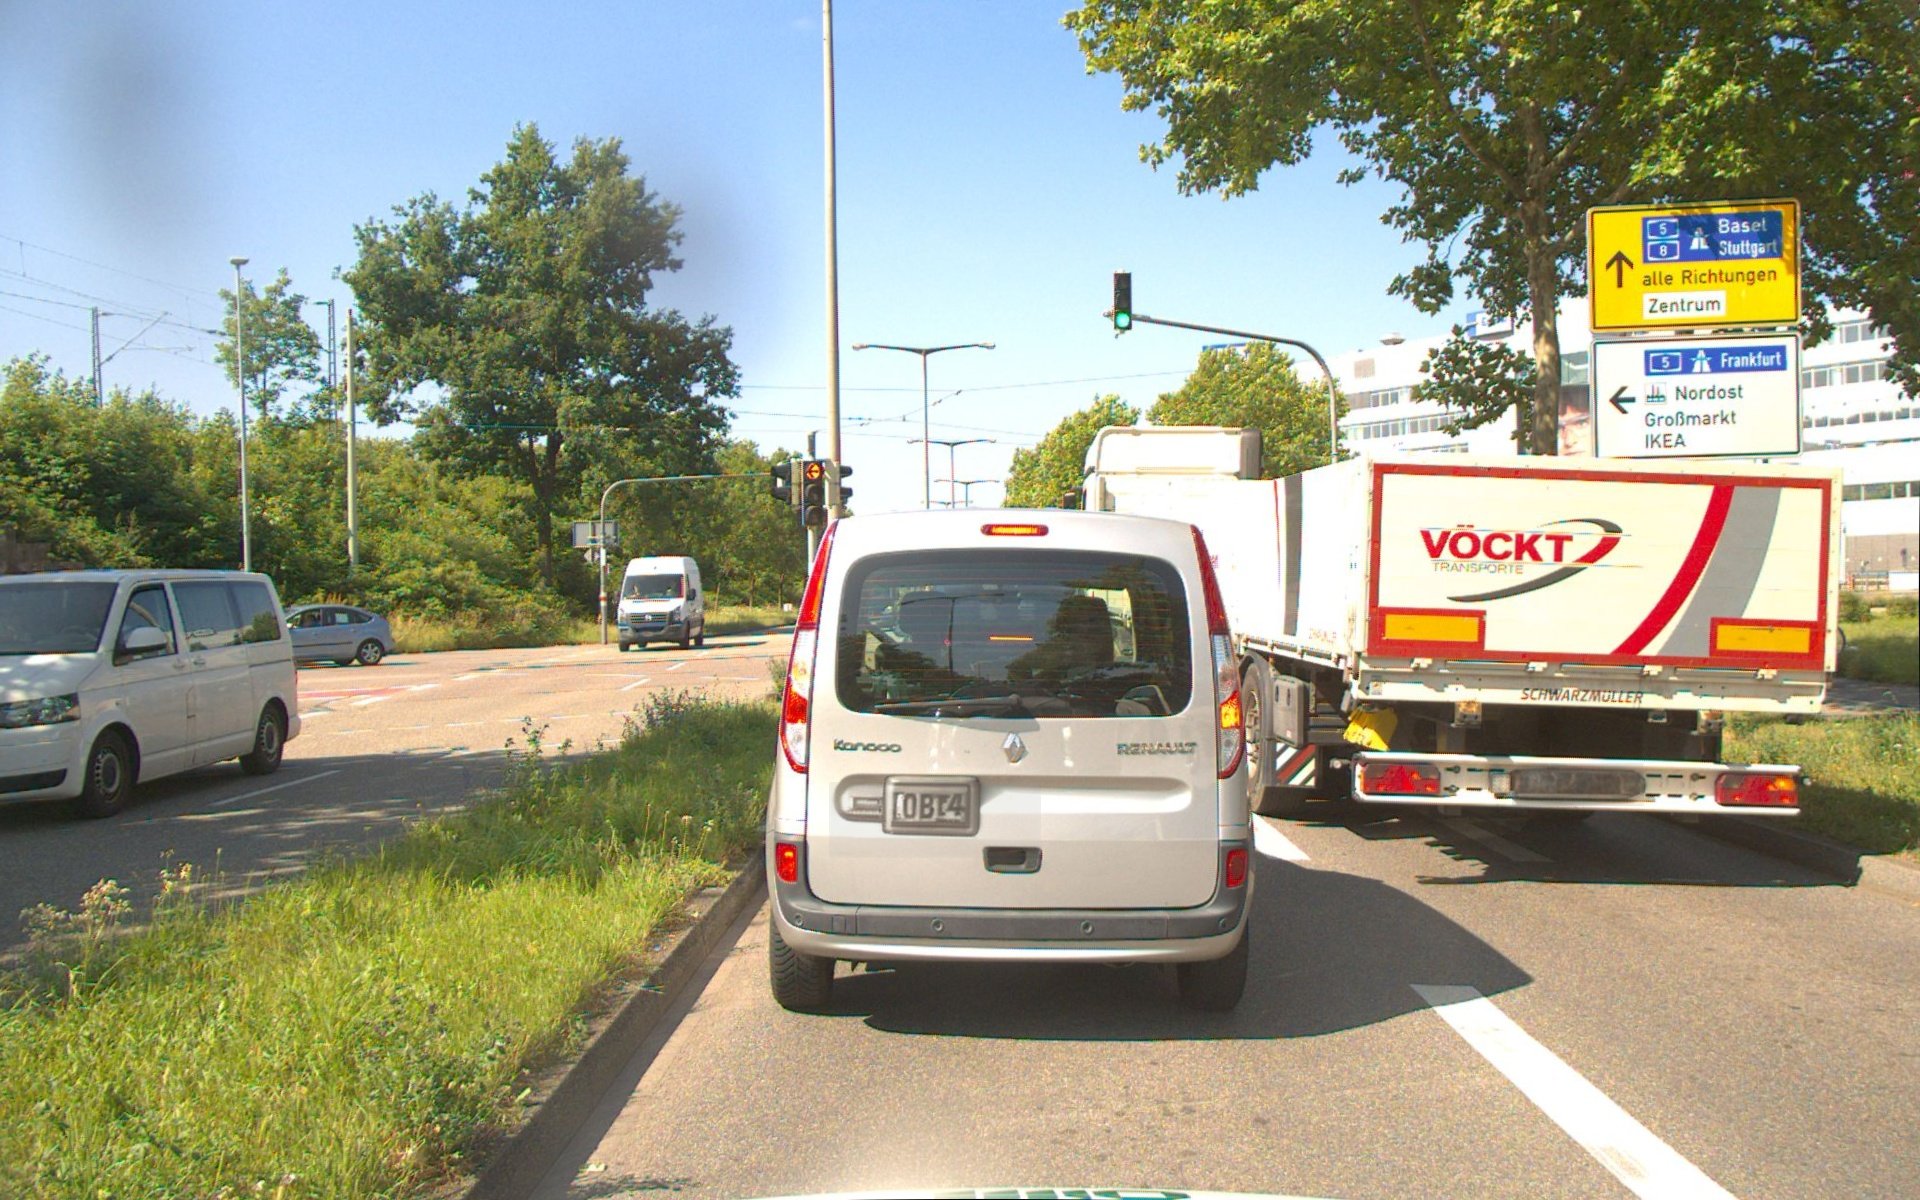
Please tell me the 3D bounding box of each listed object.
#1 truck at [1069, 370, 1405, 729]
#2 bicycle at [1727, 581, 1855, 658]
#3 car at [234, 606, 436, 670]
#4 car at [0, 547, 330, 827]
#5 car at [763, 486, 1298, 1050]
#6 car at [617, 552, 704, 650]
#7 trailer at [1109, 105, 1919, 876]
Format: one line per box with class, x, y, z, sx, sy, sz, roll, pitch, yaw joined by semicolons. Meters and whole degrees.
truck;3.213;-0.533;21.413;3.009;3.823;7.474;0;0;-1
bicycle;13.689;0.317;27.283;1.786;1.235;0.633;0;0;5
car;-15.031;0.875;39.923;1.885;1.433;4.197;0;0;45
car;-7.249;0.643;13.933;1.953;1.924;4.987;-3;0;-1
car;0.216;0.539;7.277;1.713;1.803;3.949;0;0;0
car;-8.625;0.040;48.035;2.019;2.660;5.862;0;0;-6
trailer;3.296;-0.541;14.301;2.954;3.806;12.239;0;0;0
